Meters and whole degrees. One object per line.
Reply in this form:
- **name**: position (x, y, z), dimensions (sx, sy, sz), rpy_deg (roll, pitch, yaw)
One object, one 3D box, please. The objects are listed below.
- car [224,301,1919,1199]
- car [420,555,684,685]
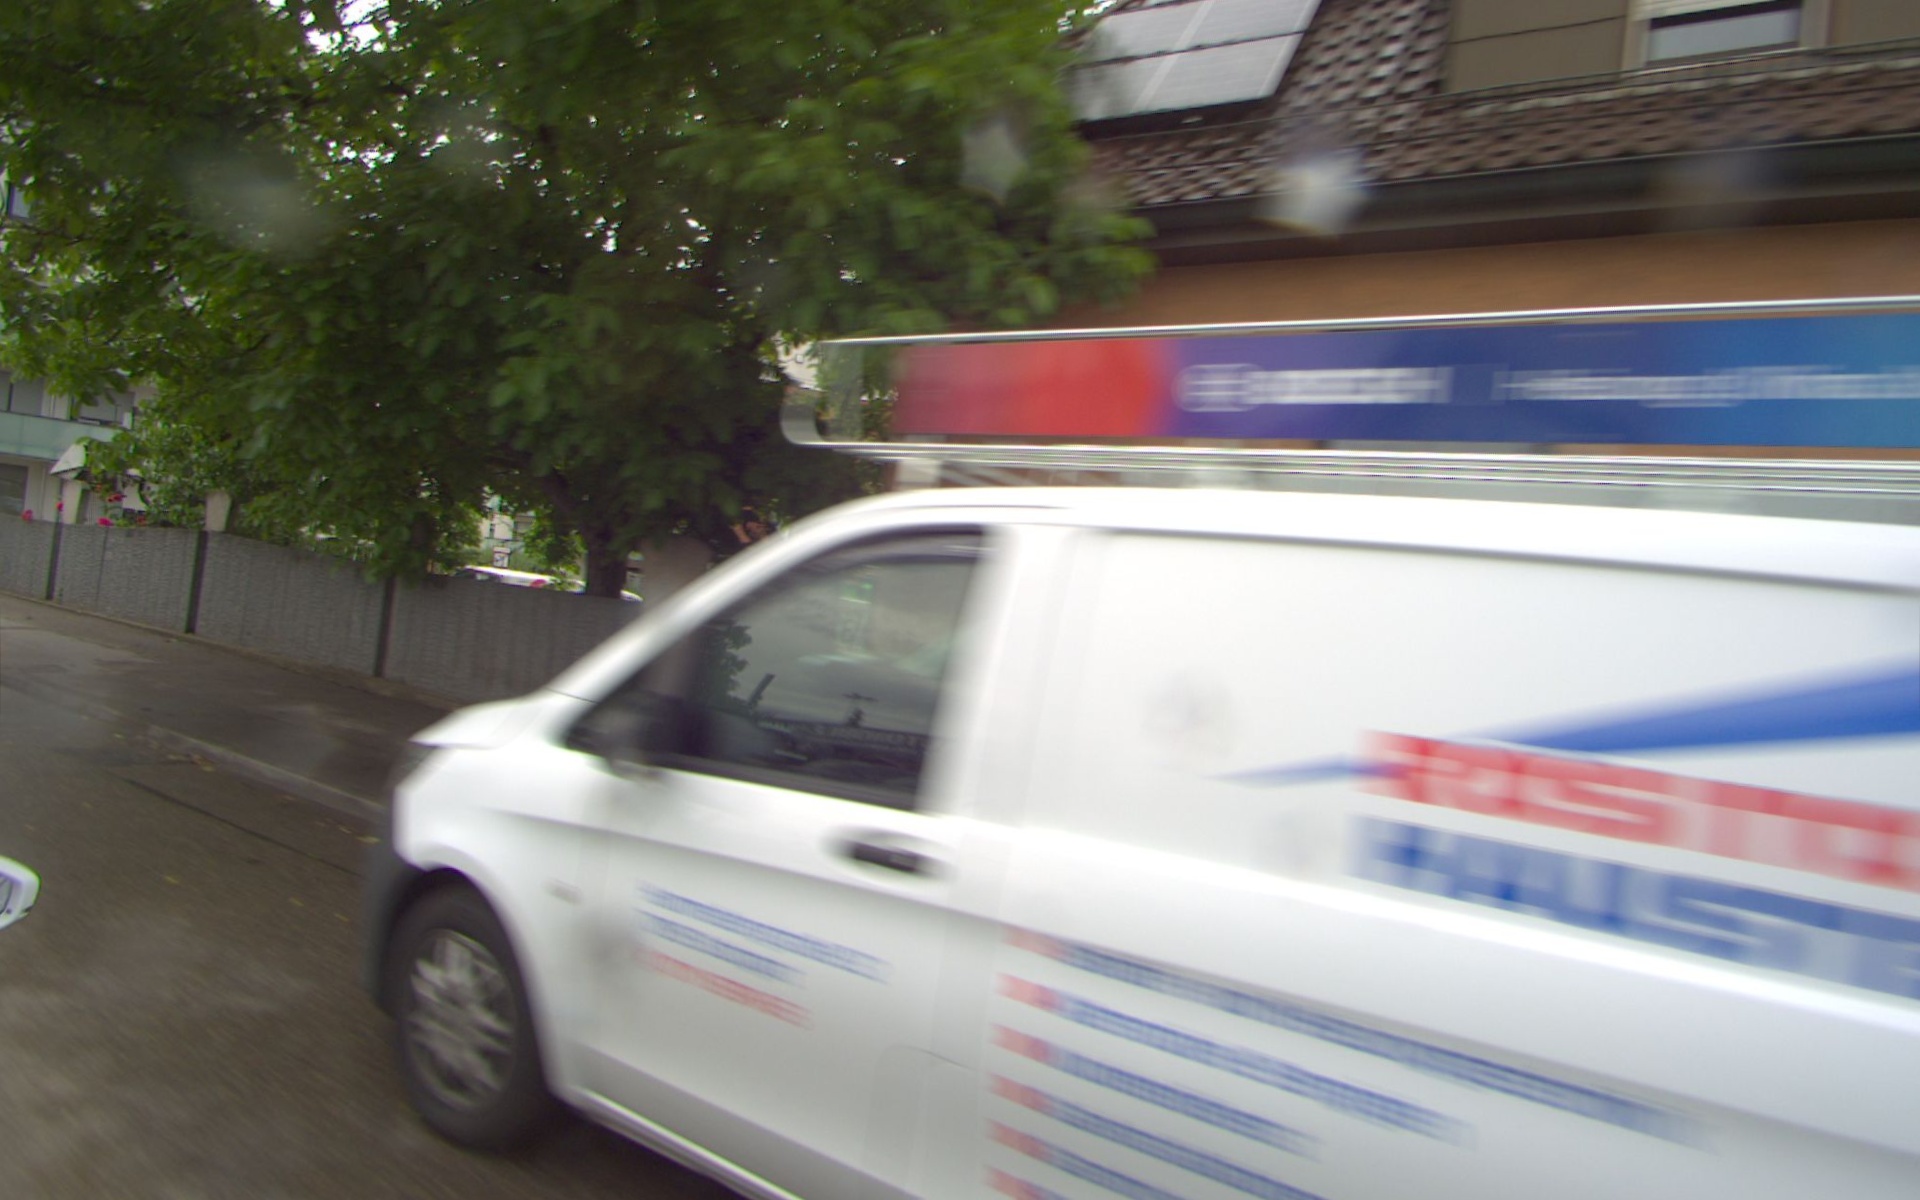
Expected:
- **car**: position (0.319, 0.601, 2.623), dimensions (4.674, 2.053, 1.781), rpy_deg (8, -1, 31)
- **car**: position (-7.590, 0.466, 19.142), dimensions (1.966, 1.891, 4.133), rpy_deg (8, -1, 30)
